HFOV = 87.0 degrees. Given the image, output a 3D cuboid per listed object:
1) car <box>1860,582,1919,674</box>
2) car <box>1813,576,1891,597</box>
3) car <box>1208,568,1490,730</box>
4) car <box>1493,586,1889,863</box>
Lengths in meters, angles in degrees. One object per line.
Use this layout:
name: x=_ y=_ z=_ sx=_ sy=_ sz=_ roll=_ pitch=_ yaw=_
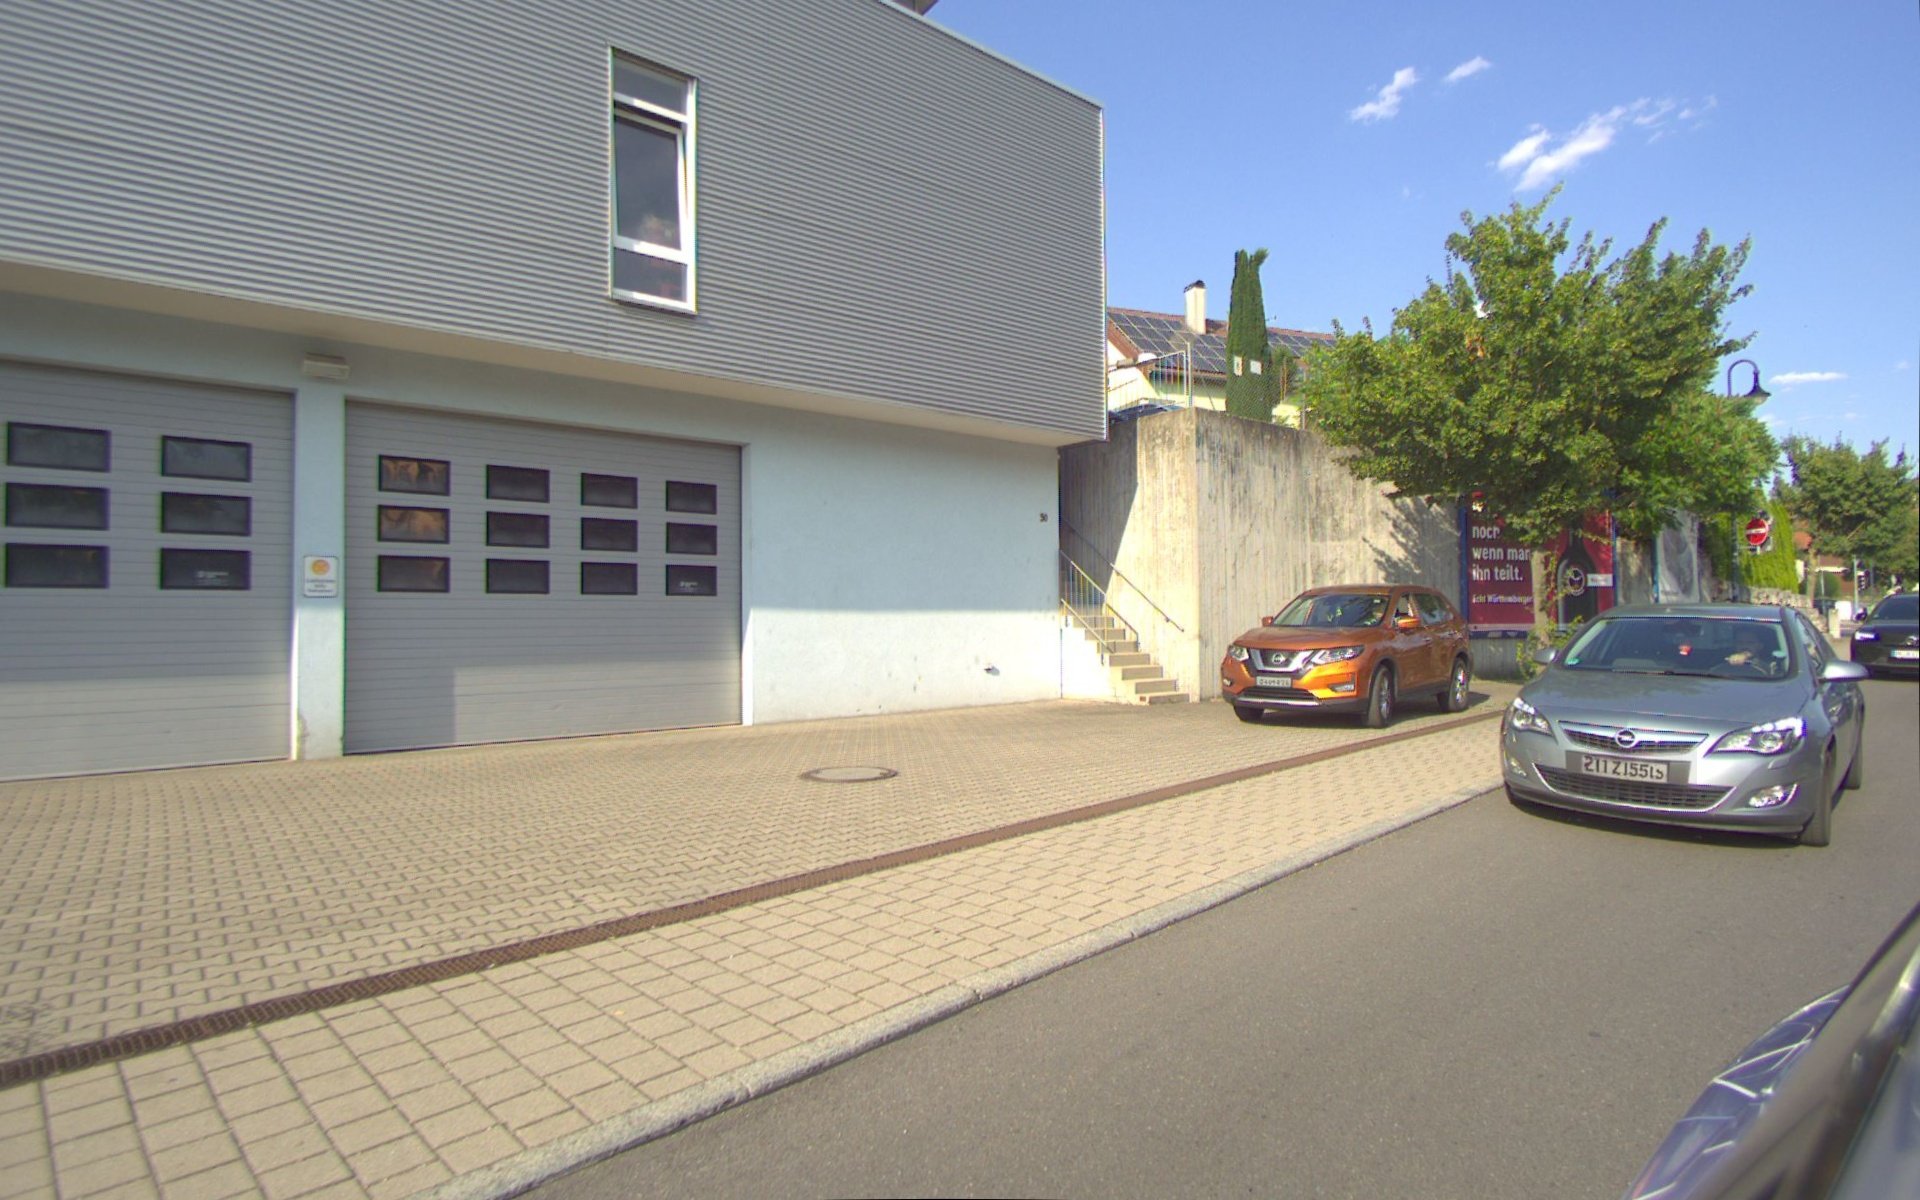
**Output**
car: x=18.747 y=0.515 z=19.200 sx=3.981 sy=1.626 sz=1.792 roll=1 pitch=-1 yaw=-38
car: x=67.050 y=-1.022 z=76.107 sx=1.644 sy=1.475 sz=4.086 roll=0 pitch=-1 yaw=-25
car: x=5.053 y=0.510 z=12.774 sx=1.833 sy=1.670 sz=4.469 roll=-1 pitch=-1 yaw=42
car: x=5.477 y=0.662 z=7.357 sx=4.075 sy=1.440 sz=1.649 roll=1 pitch=1 yaw=-44
